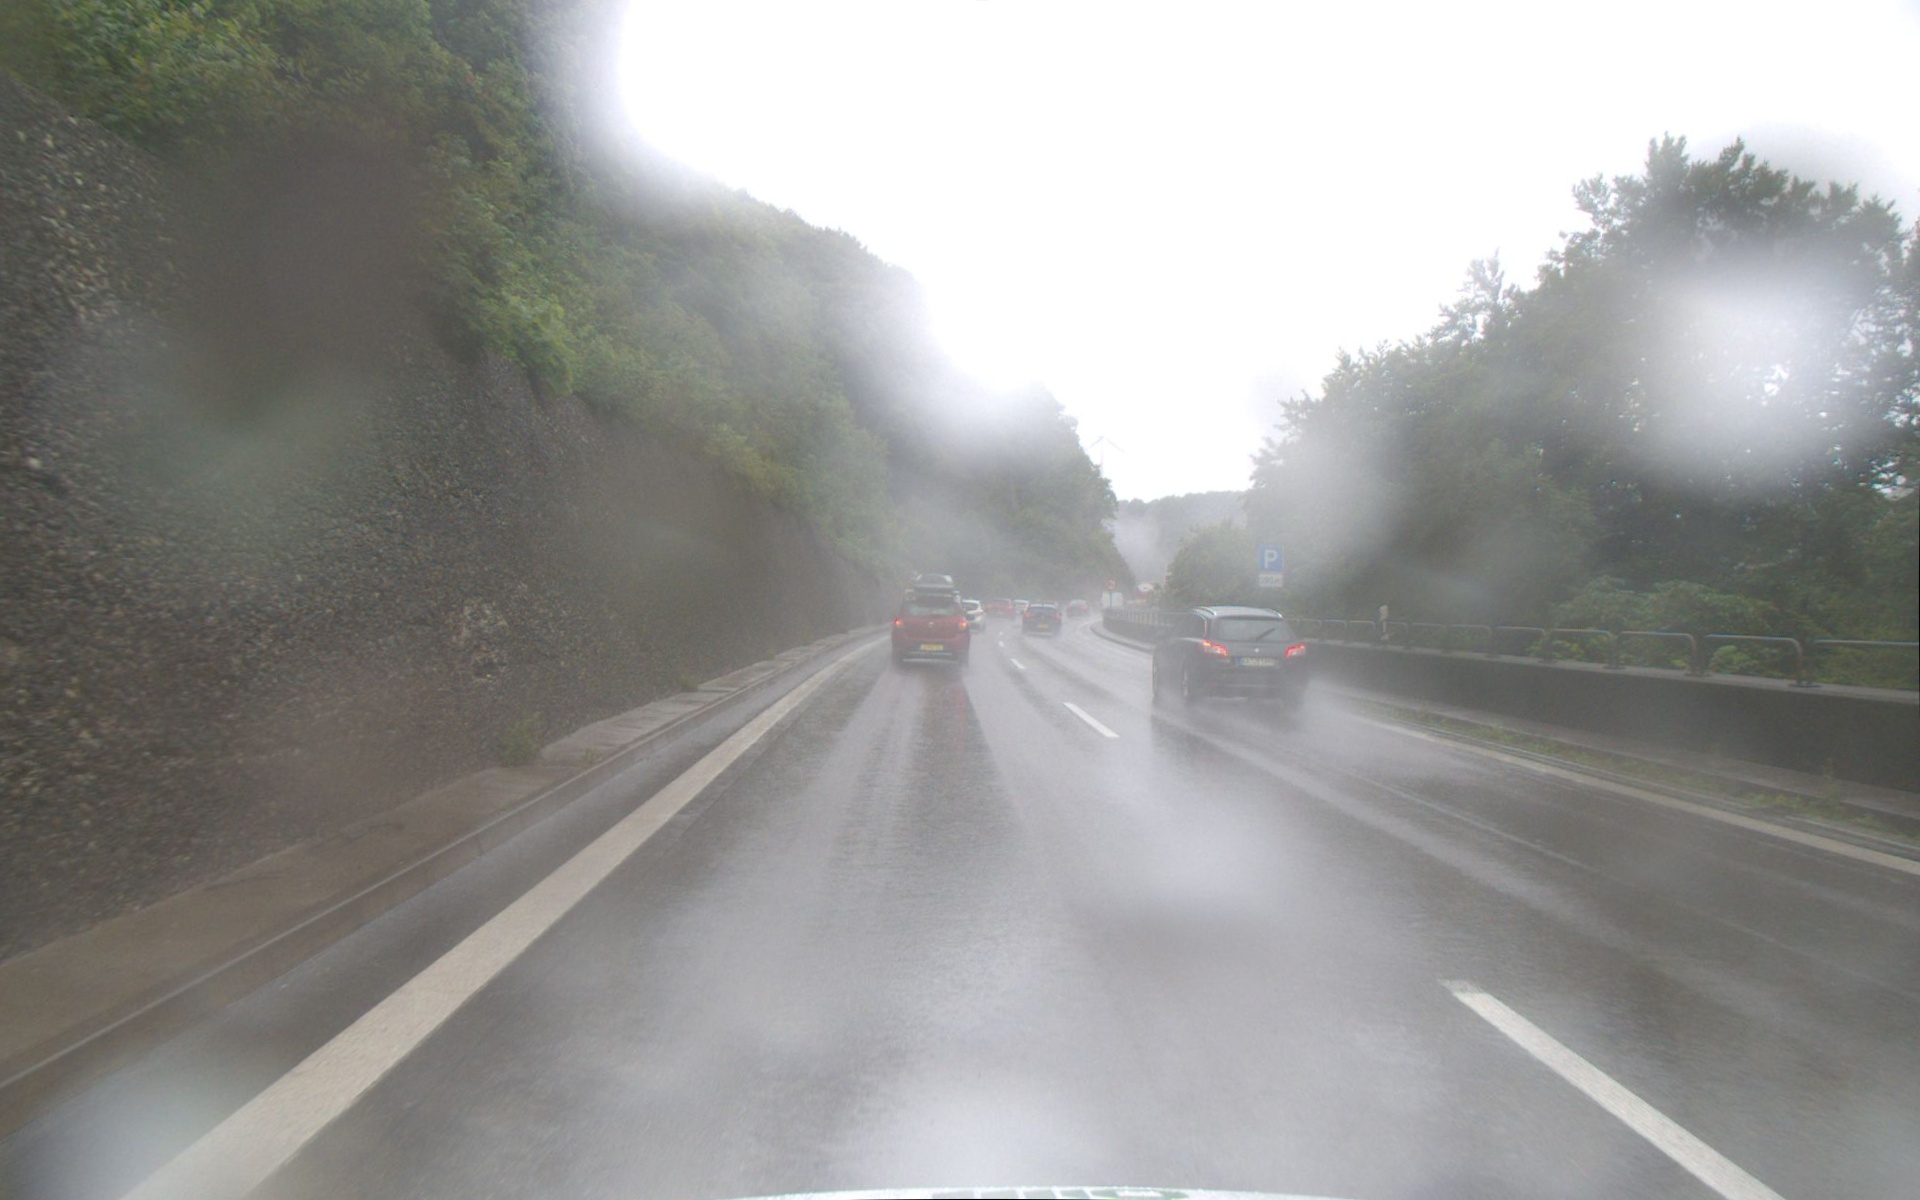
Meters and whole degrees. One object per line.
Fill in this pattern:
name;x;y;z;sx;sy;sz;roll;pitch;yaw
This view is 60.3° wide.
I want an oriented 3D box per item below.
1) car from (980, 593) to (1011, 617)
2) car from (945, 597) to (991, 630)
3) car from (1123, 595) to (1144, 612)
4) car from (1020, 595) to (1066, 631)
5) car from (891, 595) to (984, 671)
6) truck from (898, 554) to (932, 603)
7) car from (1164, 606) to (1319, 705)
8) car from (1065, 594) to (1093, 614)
car;2.567;0.342;118.338;1.827;1.713;4.003;1;0;7
car;0.327;0.586;73.216;1.953;1.378;3.999;1;0;-1
car;21.151;0.444;201.940;2.397;2.049;4.739;1;0;5
car;3.830;0.582;76.515;1.952;1.579;4.000;0;0;0
car;-0.558;0.703;36.757;1.953;1.579;3.998;0;0;-2
truck;-2.648;-1.227;98.329;1.953;2.799;5.585;0;0;-1
car;4.158;0.777;24.958;1.763;1.330;4.001;1;0;2
car;10.862;0.361;150.251;1.786;1.749;4.003;1;0;15
